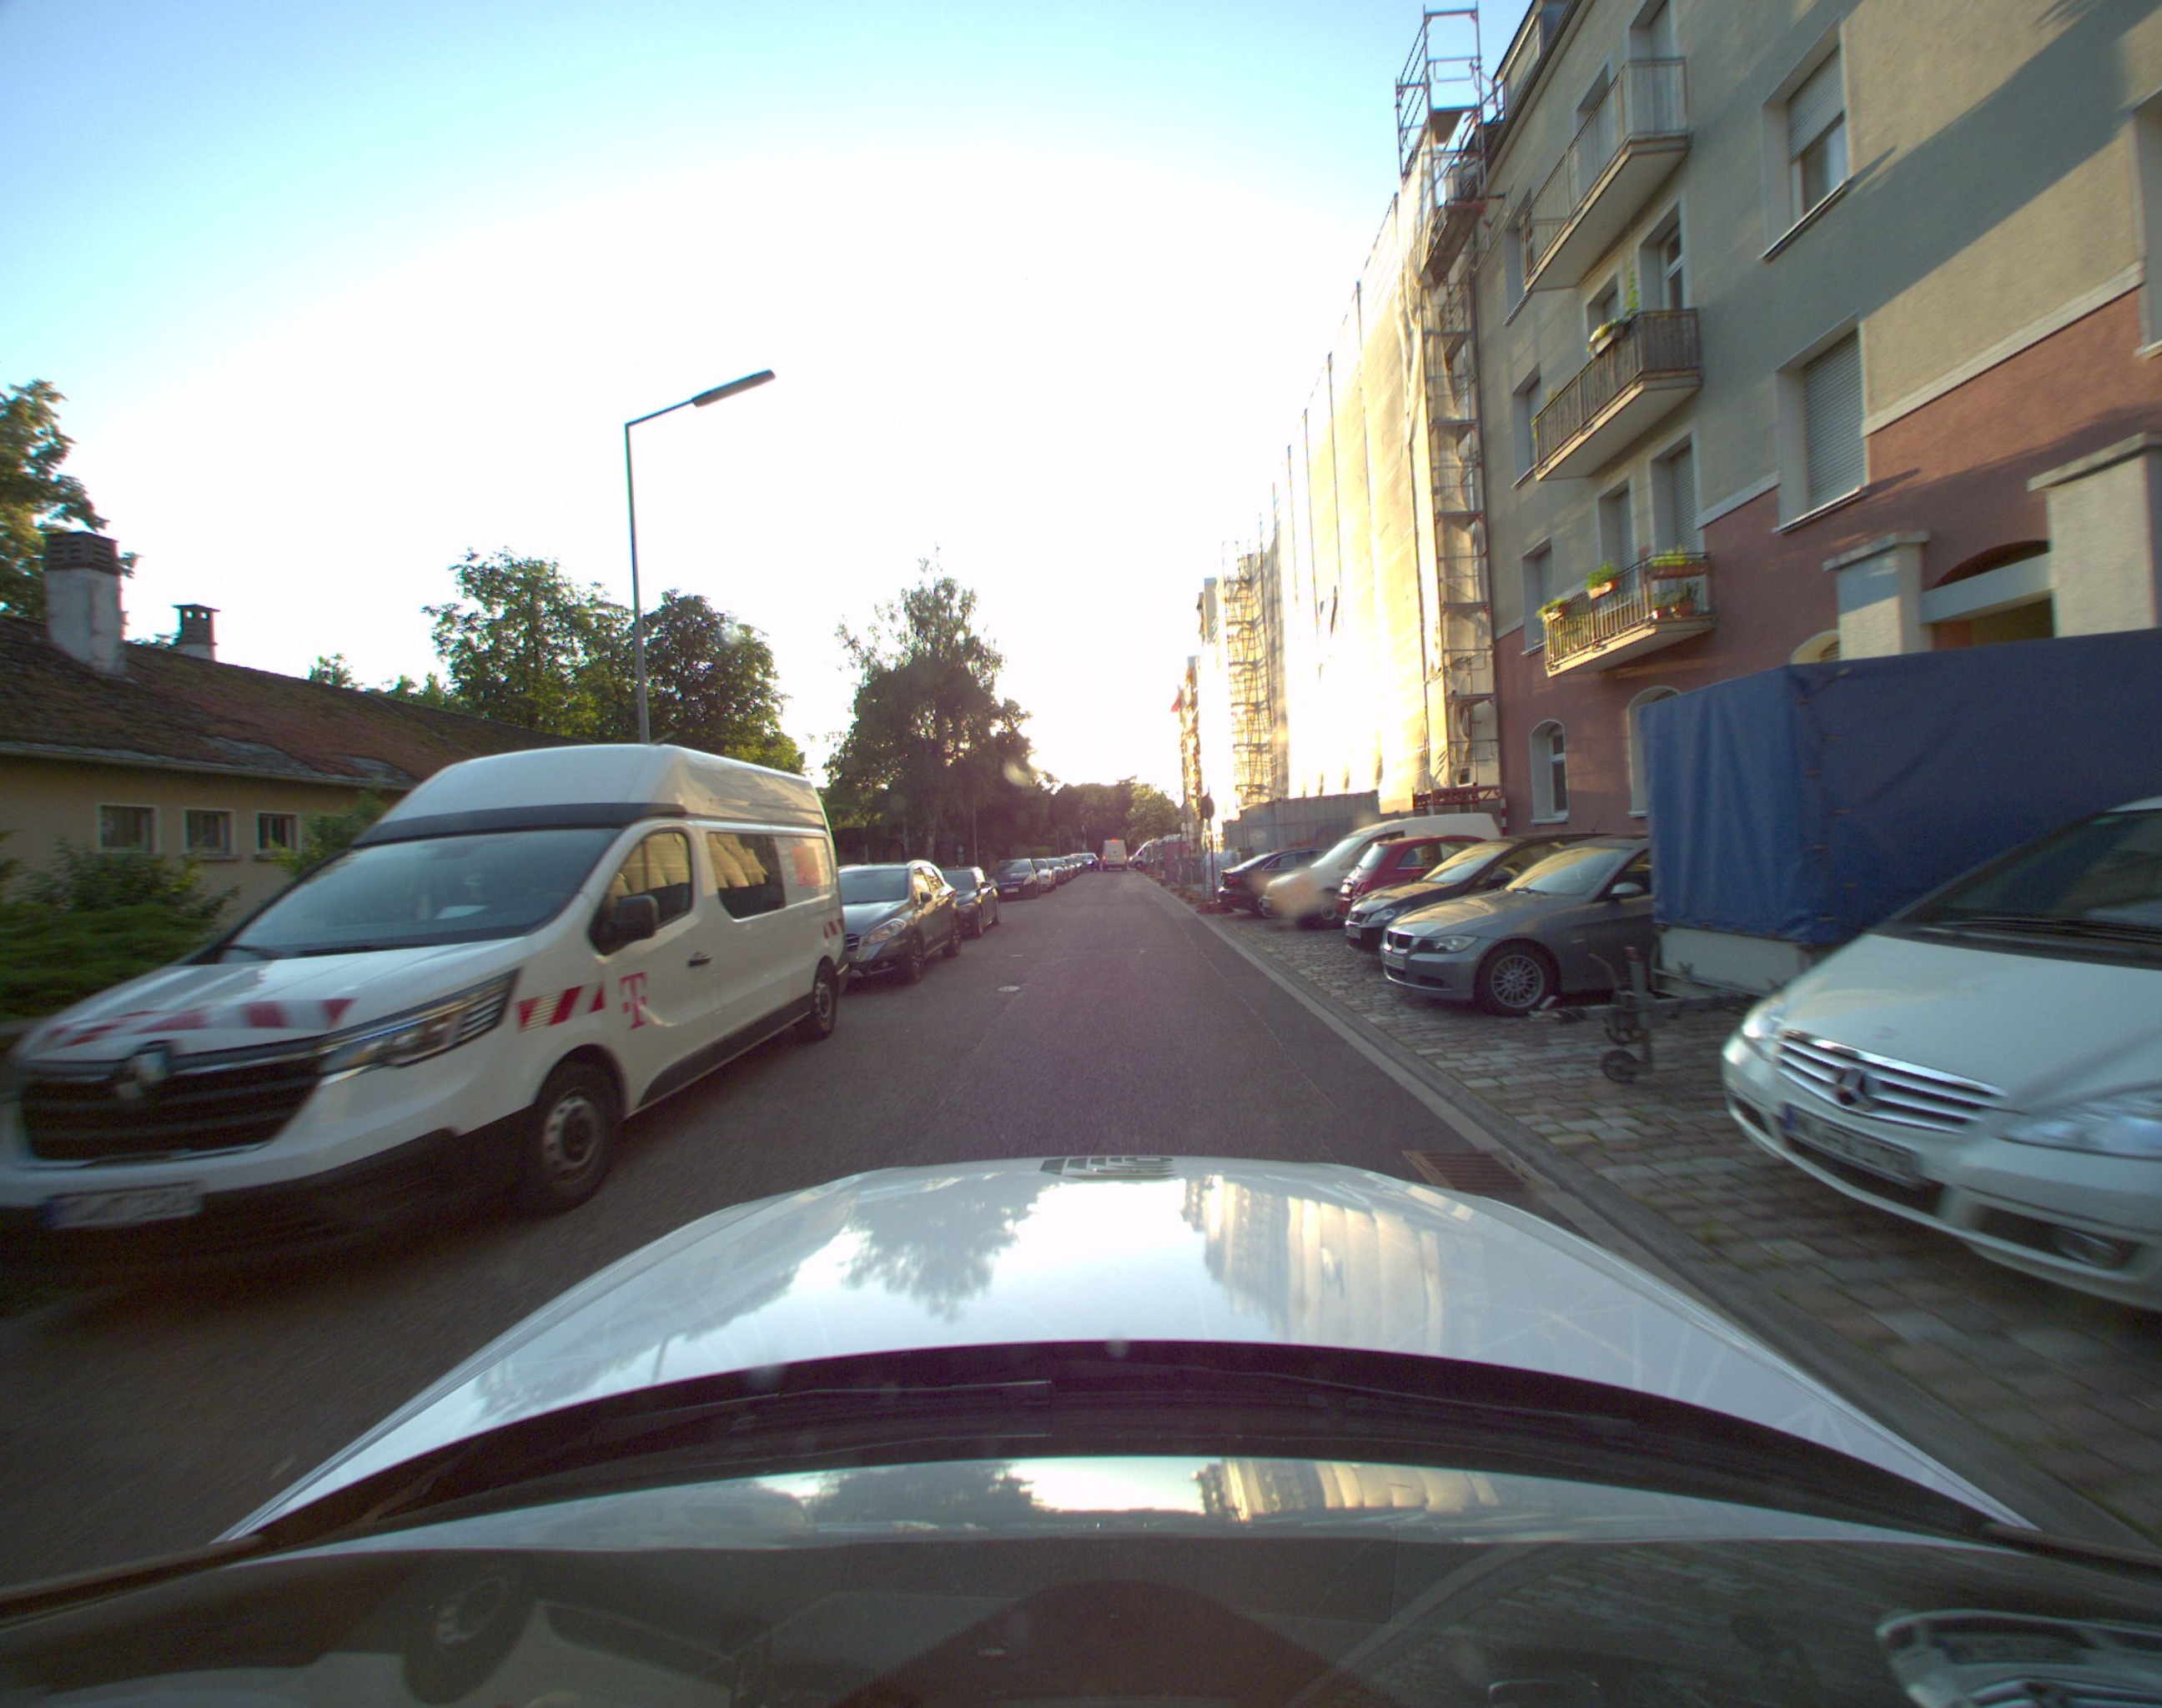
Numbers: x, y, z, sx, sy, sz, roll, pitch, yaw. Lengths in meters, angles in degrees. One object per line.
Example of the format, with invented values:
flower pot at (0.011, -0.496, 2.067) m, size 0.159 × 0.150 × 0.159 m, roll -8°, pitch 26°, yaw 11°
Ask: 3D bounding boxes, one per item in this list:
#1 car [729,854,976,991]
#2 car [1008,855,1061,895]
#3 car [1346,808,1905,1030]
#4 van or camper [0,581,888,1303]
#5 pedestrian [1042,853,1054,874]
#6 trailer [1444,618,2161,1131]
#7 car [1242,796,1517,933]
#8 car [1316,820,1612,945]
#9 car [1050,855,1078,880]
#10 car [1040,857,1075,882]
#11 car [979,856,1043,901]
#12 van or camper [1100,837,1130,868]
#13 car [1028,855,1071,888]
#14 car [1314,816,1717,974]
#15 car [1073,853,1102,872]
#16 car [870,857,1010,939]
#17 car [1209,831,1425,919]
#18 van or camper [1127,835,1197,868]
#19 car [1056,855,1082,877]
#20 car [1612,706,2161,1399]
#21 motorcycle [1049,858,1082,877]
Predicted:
car at (-2.980, 0.799, 11.895) m, size 1.985 × 1.519 × 4.792 m, roll -2°, pitch 0°, yaw 3°
car at (-1.960, 0.865, 35.409) m, size 1.776 × 1.445 × 4.750 m, roll -5°, pitch 0°, yaw 2°
car at (4.813, 0.529, 7.665) m, size 3.975 × 1.637 × 1.902 m, roll -3°, pitch 0°, yaw -1°
van or camper at (-3.264, 0.309, 5.889) m, size 1.986 × 2.457 × 6.086 m, roll -3°, pitch 0°, yaw 2°
pedestrian at (-2.964, 0.807, 72.670) m, size 0.934 × 1.830 × 0.787 m, roll -2°, pitch -1°, yaw 1°
trailer at (4.551, 0.056, 5.065) m, size 3.557 × 2.336 × 1.940 m, roll -5°, pitch 0°, yaw -1°
car at (5.365, 0.155, 14.947) m, size 4.260 × 1.979 × 1.818 m, roll -5°, pitch 1°, yaw -6°
car at (5.726, 0.408, 12.498) m, size 3.680 × 1.610 × 1.745 m, roll -3°, pitch 0°, yaw -1°
car at (-1.126, 0.887, 54.919) m, size 1.595 × 1.431 × 3.804 m, roll -5°, pitch 0°, yaw 1°
car at (-1.379, 0.923, 49.224) m, size 1.652 × 1.313 × 4.157 m, roll -4°, pitch 0°, yaw 3°
car at (-2.480, 0.830, 29.847) m, size 1.988 × 1.453 × 3.998 m, roll -2°, pitch 0°, yaw -1°
van or camper at (2.971, -0.106, 70.729) m, size 2.444 × 2.547 × 6.087 m, roll -1°, pitch 0°, yaw 2°
car at (-1.637, 0.889, 43.939) m, size 1.853 × 1.538 × 4.760 m, roll -4°, pitch 0°, yaw 2°
car at (5.108, 0.453, 9.963) m, size 3.953 × 1.572 × 1.788 m, roll -3°, pitch 0°, yaw -1°
car at (0.607, 0.718, 71.302) m, size 1.793 × 1.569 × 4.577 m, roll -3°, pitch 0°, yaw 10°
car at (-2.827, 0.832, 17.379) m, size 1.985 × 1.453 × 4.291 m, roll -2°, pitch 0°, yaw 3°
car at (4.977, 0.427, 17.664) m, size 4.135 × 1.615 × 1.873 m, roll -3°, pitch 0°, yaw 3°
van or camper at (7.124, -0.199, 72.087) m, size 5.907 × 2.770 × 2.110 m, roll -2°, pitch 0°, yaw 1°
car at (-0.857, 0.858, 61.388) m, size 1.709 × 1.496 × 4.361 m, roll -4°, pitch 0°, yaw 1°
car at (4.654, 0.420, 3.040) m, size 3.974 × 1.728 × 2.000 m, roll -3°, pitch -1°, yaw 0°
motorcycle at (-1.126, 0.951, 58.199) m, size 2.147 × 1.303 × 0.884 m, roll -2°, pitch 0°, yaw 16°
